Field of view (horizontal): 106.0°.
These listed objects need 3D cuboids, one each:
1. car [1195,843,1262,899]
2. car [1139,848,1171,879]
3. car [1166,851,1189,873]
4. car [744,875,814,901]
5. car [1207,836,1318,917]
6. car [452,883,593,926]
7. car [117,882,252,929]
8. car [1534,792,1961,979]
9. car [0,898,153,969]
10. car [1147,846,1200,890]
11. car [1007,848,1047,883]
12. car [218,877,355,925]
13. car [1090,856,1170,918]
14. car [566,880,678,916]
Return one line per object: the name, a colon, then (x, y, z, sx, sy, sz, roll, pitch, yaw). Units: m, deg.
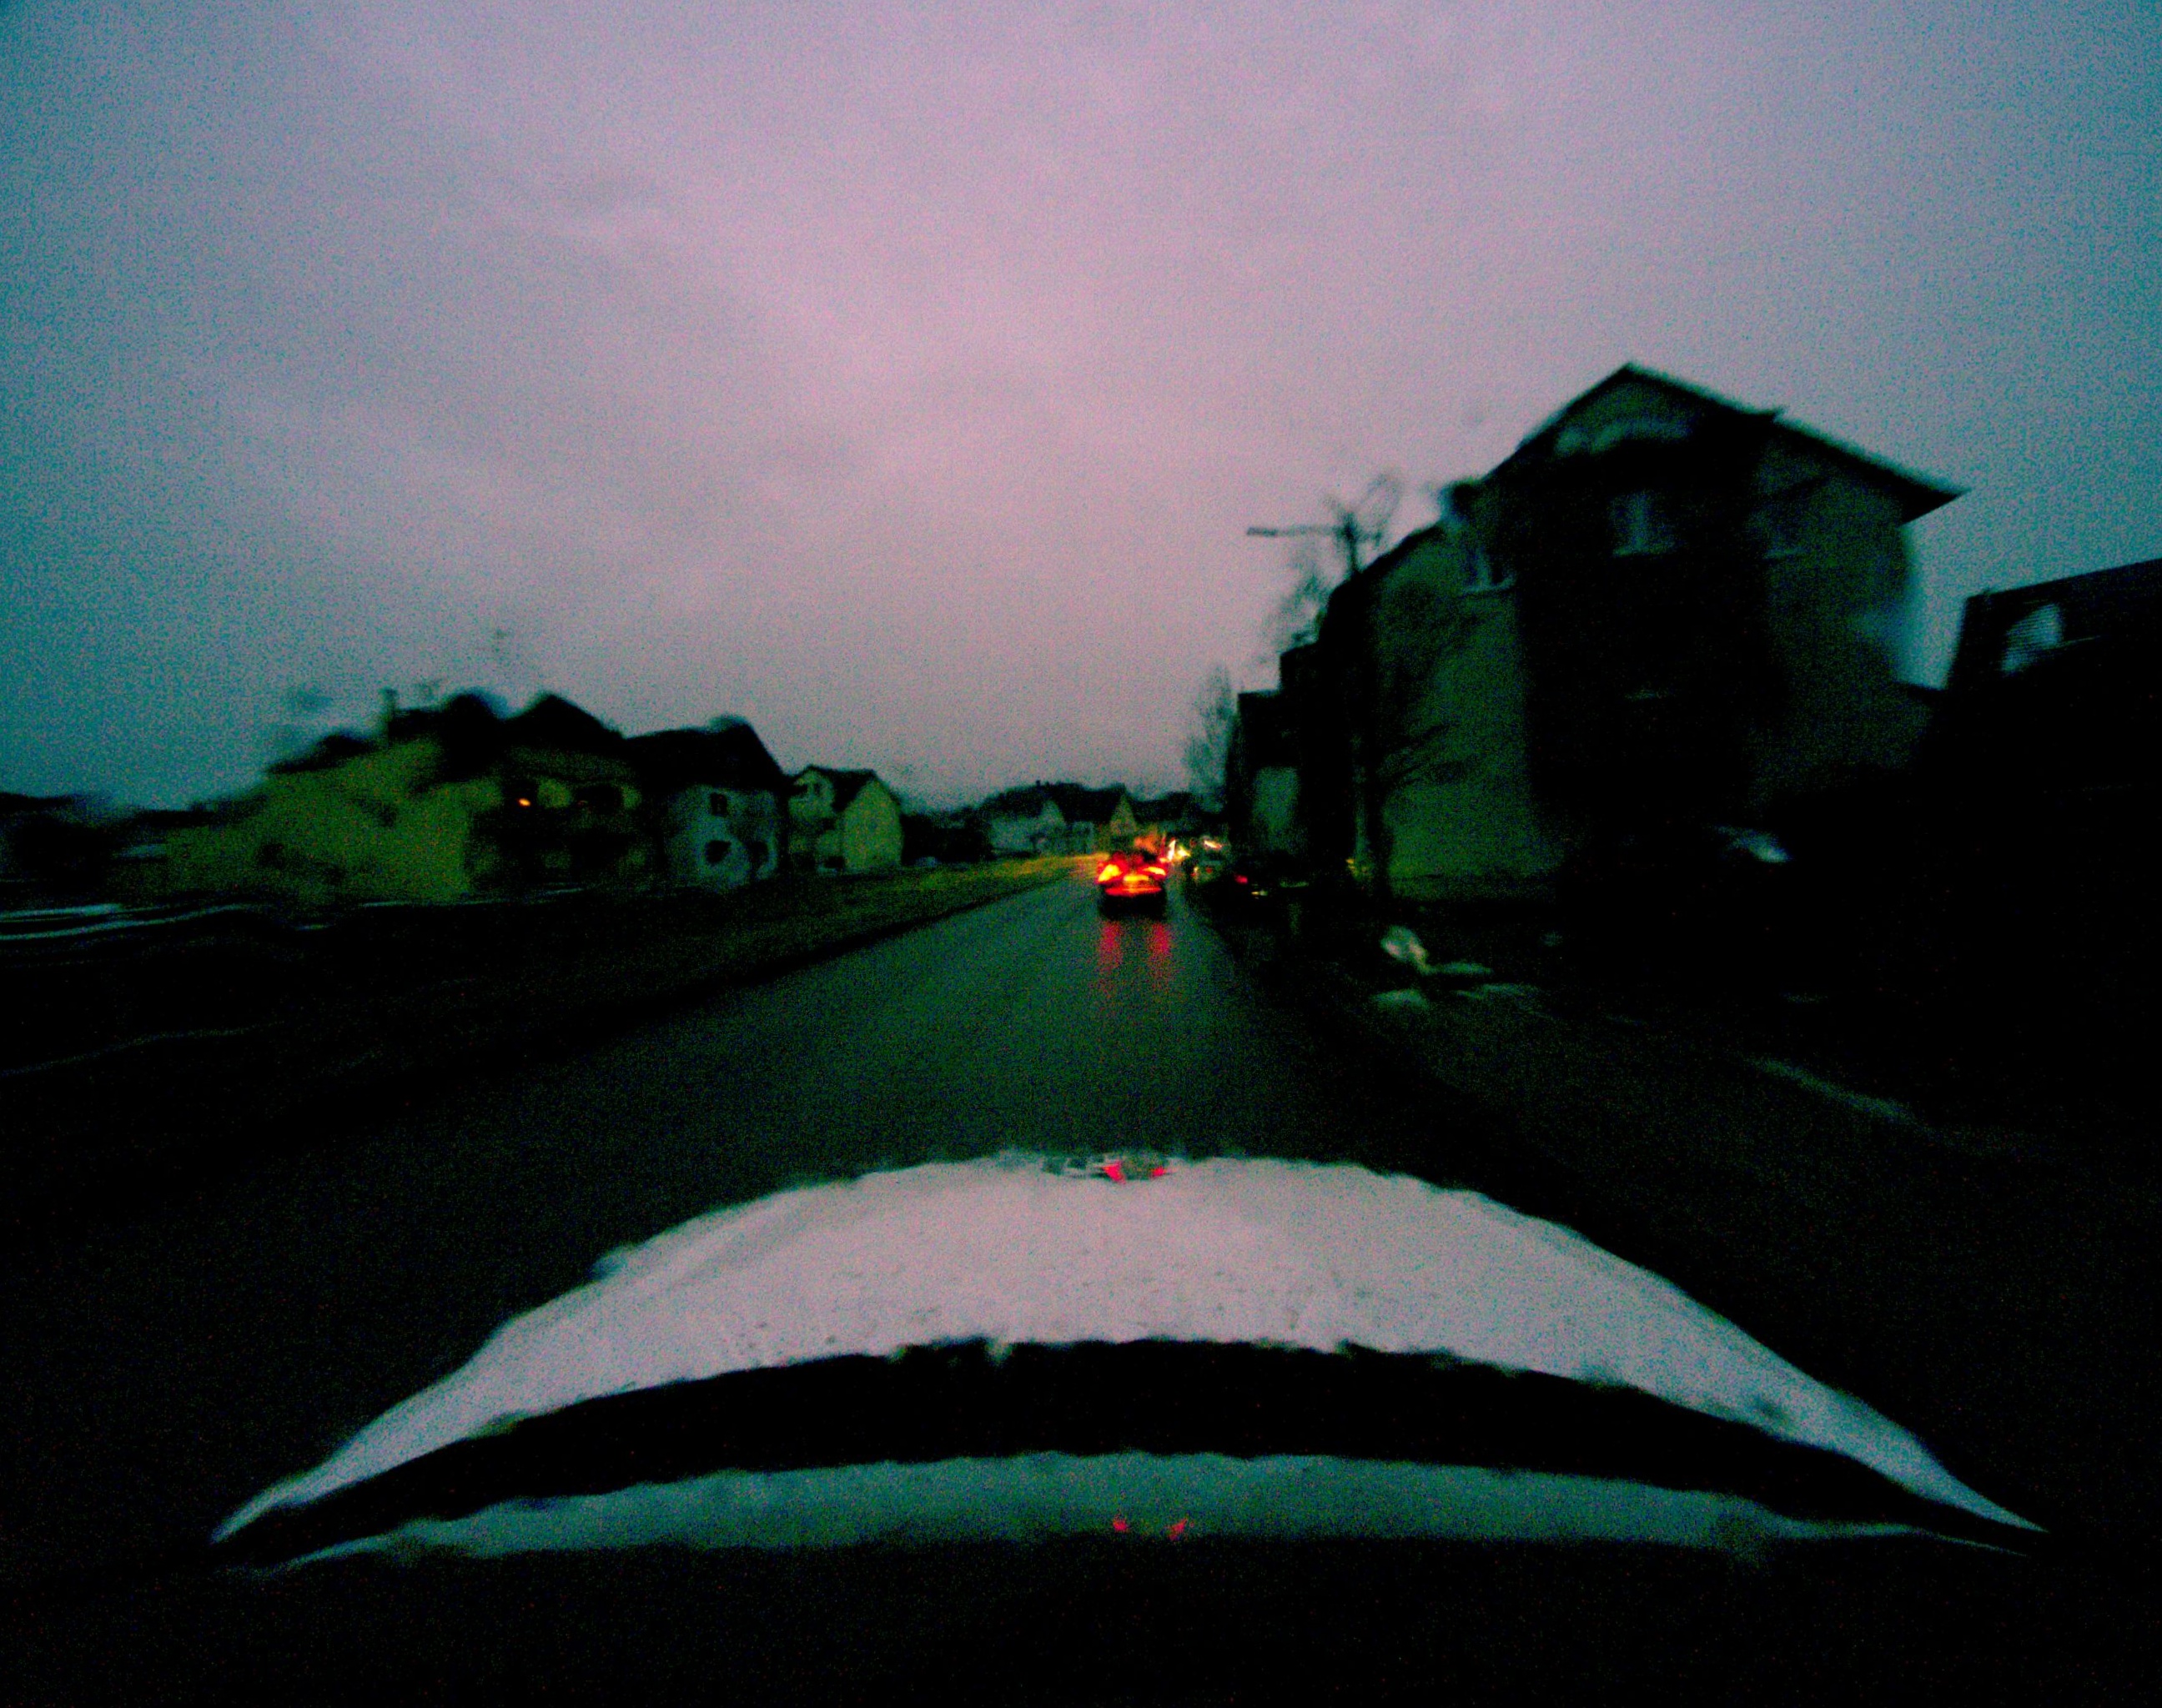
car: (4.938, 0.531, 27.510, 1.982, 1.670, 4.010, -3, 0, 9)
car: (5.104, 0.651, 55.688, 1.983, 2.014, 4.007, -2, -1, 6)
car: (9.203, 0.772, 77.412, 1.982, 2.014, 4.009, -2, -1, 8)
car: (-17.700, 1.975, 47.953, 1.981, 1.307, 4.124, -1, 0, 10)
car: (4.236, 0.496, 19.644, 1.985, 1.670, 4.004, -2, 0, 4)
car: (-20.623, 1.819, 30.315, 1.981, 1.307, 4.124, -1, 0, 10)
car: (-35.196, 2.008, 31.988, 3.996, 1.662, 1.854, -1, 0, 14)
car: (7.214, 0.286, 9.358, 1.780, 1.640, 3.568, -3, 0, -4)
car: (-22.974, 1.703, 17.112, 1.981, 1.307, 4.124, -1, 0, 10)
car: (3.796, 0.542, 33.997, 1.985, 1.679, 4.004, -1, 0, 4)
car: (-3.327, 0.715, 50.718, 1.986, 2.014, 4.002, -2, -1, 2)
car: (-30.080, 1.777, 30.867, 3.996, 1.662, 1.854, -1, 0, 14)
car: (1.385, 0.861, 23.057, 1.985, 1.525, 4.003, -3, 0, 3)
car: (-19.704, 1.862, 35.166, 1.981, 1.307, 4.124, -1, 0, 10)
